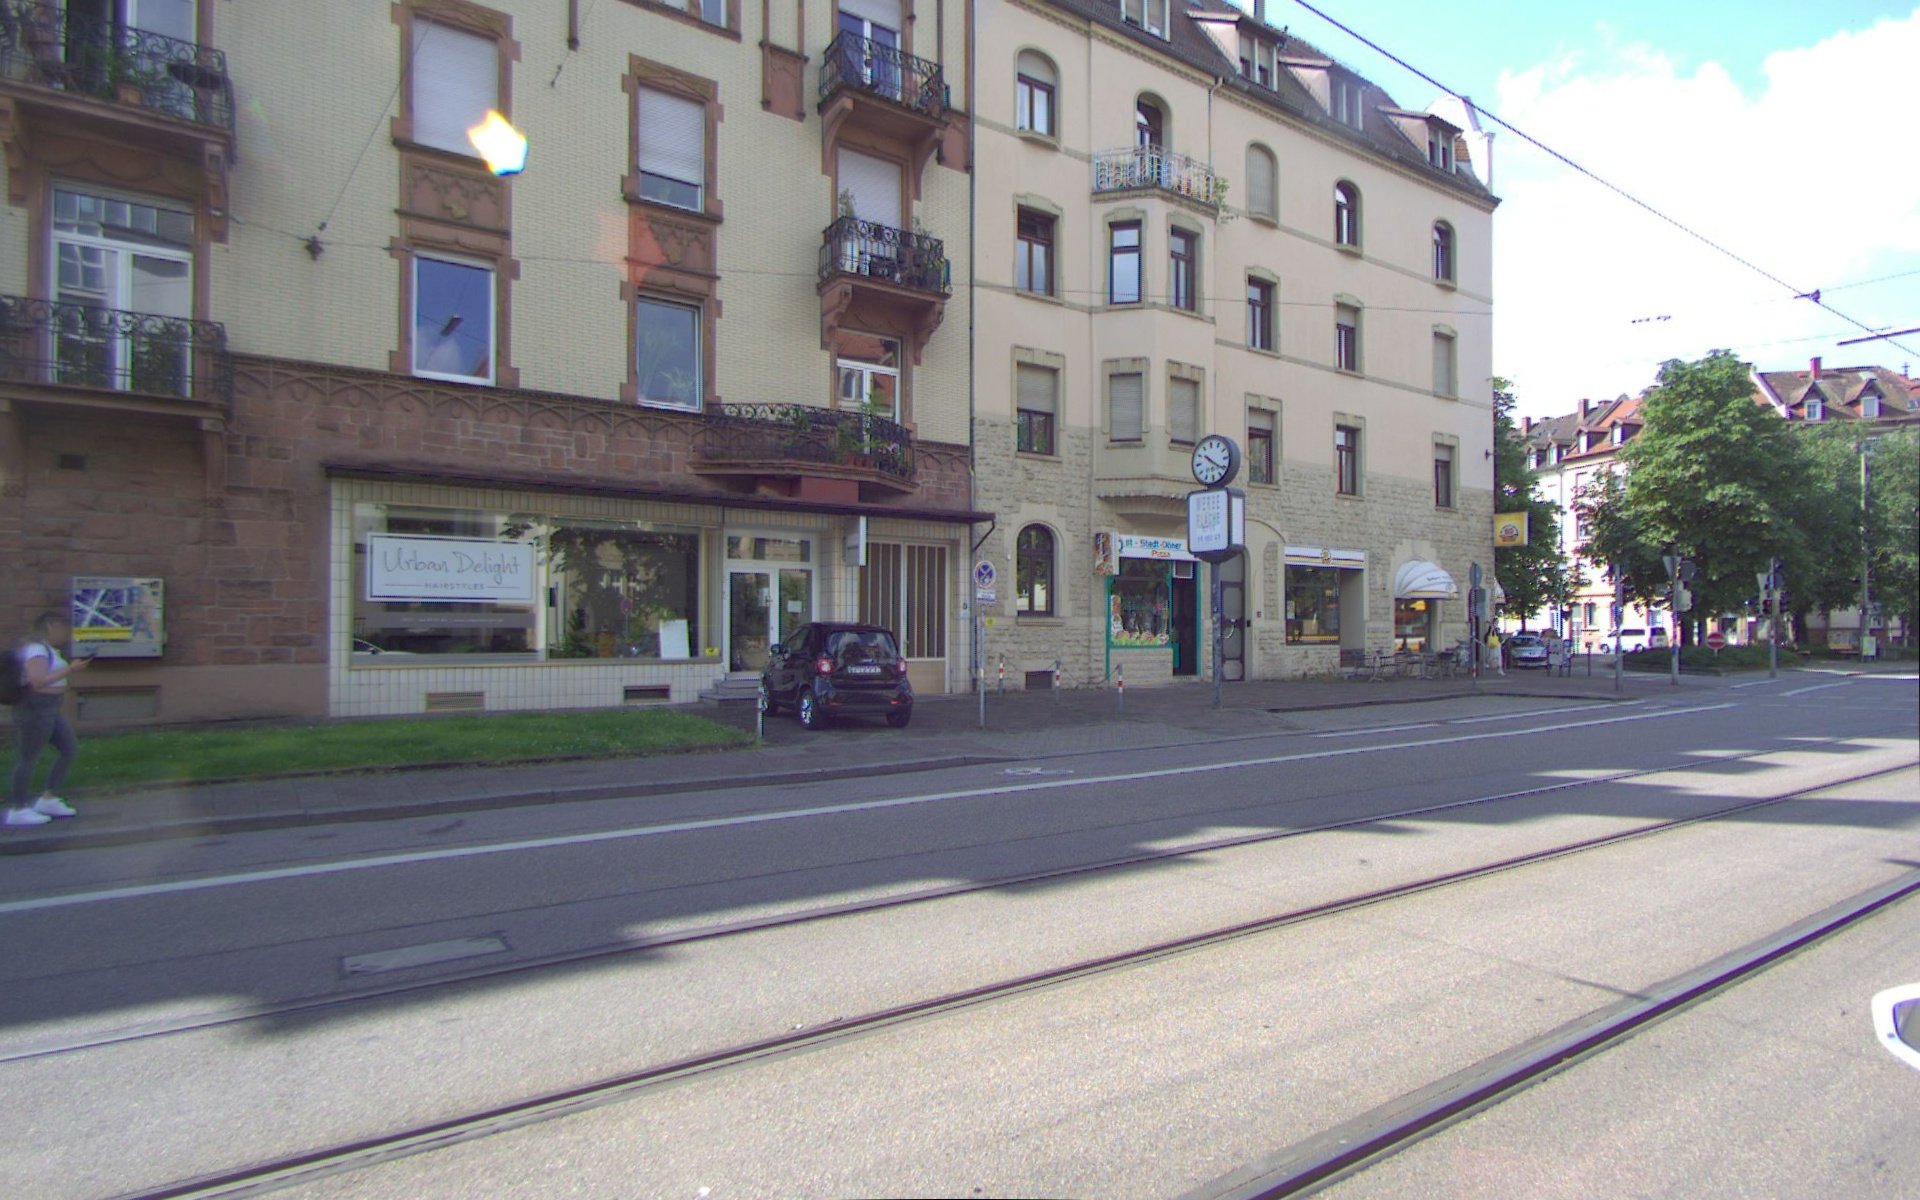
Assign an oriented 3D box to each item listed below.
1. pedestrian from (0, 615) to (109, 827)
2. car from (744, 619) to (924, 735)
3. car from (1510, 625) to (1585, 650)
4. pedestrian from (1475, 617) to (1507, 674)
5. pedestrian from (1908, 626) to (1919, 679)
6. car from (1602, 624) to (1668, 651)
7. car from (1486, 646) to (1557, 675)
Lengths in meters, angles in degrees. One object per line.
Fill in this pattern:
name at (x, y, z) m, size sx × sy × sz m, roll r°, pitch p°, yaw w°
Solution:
pedestrian at (-7.190, 0.906, 7.801) m, size 0.756 × 1.561 × 0.752 m, roll 1°, pitch -2°, yaw -32°
car at (-2.075, 1.116, 15.836) m, size 1.716 × 1.505 × 3.162 m, roll 1°, pitch 1°, yaw -30°
car at (40.036, 2.558, 68.492) m, size 1.976 × 1.617 × 3.970 m, roll 1°, pitch -2°, yaw -29°
pedestrian at (16.735, 1.423, 31.649) m, size 0.676 × 1.777 × 0.796 m, roll -1°, pitch -2°, yaw 45°
pedestrian at (31.552, 1.702, 32.733) m, size 0.705 × 1.728 × 0.824 m, roll 0°, pitch -1°, yaw 22°
car at (50.075, 2.774, 74.603) m, size 1.962 × 1.929 × 3.997 m, roll 0°, pitch -2°, yaw -5°
car at (25.212, 2.696, 45.233) m, size 1.644 × 1.198 × 4.003 m, roll 0°, pitch -2°, yaw 12°
